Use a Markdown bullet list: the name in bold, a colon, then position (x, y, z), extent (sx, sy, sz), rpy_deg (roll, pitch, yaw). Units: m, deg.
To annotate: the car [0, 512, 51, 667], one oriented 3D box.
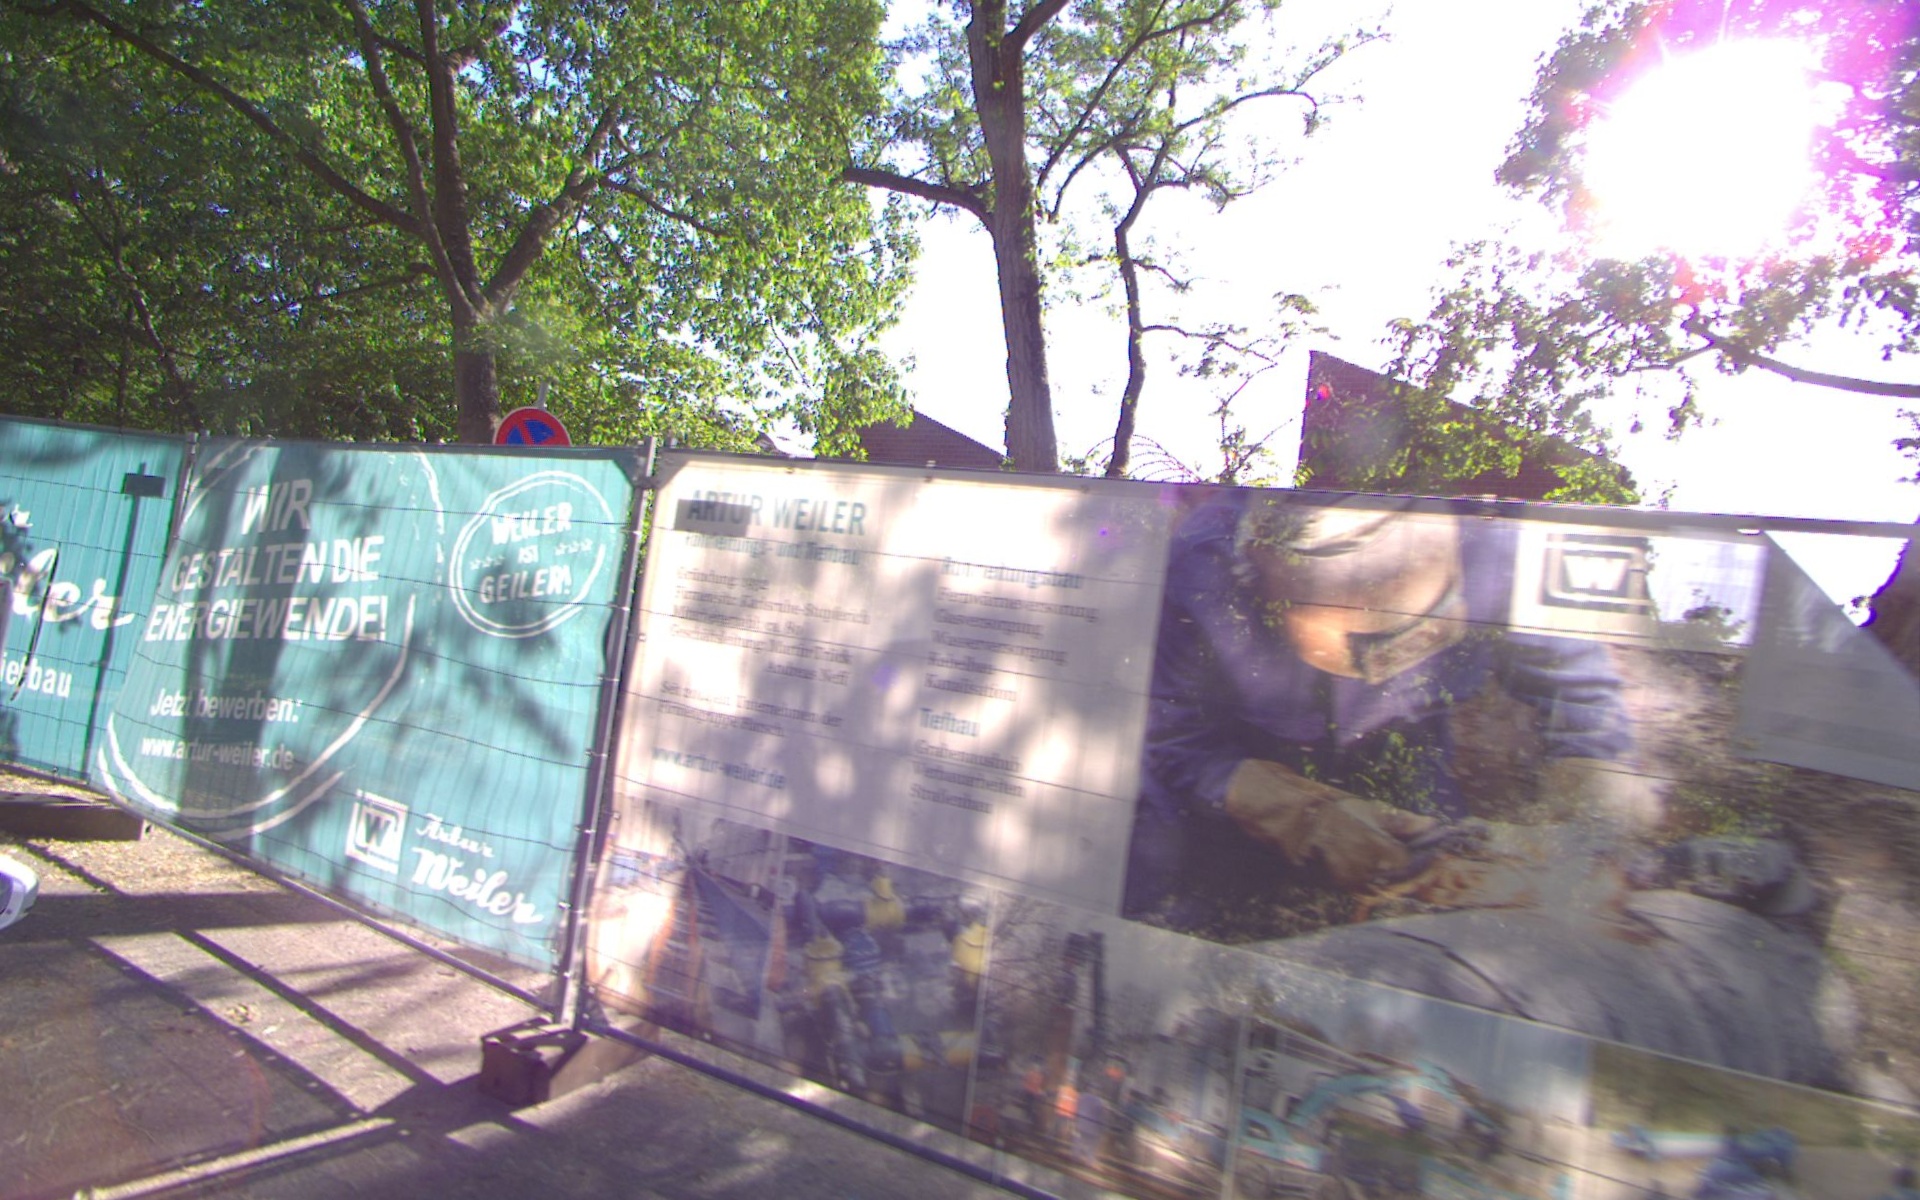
- **car**: position (-10.917, -0.310, 10.206), extent (3.006, 1.494, 1.505), rpy_deg (7, -3, 30)
